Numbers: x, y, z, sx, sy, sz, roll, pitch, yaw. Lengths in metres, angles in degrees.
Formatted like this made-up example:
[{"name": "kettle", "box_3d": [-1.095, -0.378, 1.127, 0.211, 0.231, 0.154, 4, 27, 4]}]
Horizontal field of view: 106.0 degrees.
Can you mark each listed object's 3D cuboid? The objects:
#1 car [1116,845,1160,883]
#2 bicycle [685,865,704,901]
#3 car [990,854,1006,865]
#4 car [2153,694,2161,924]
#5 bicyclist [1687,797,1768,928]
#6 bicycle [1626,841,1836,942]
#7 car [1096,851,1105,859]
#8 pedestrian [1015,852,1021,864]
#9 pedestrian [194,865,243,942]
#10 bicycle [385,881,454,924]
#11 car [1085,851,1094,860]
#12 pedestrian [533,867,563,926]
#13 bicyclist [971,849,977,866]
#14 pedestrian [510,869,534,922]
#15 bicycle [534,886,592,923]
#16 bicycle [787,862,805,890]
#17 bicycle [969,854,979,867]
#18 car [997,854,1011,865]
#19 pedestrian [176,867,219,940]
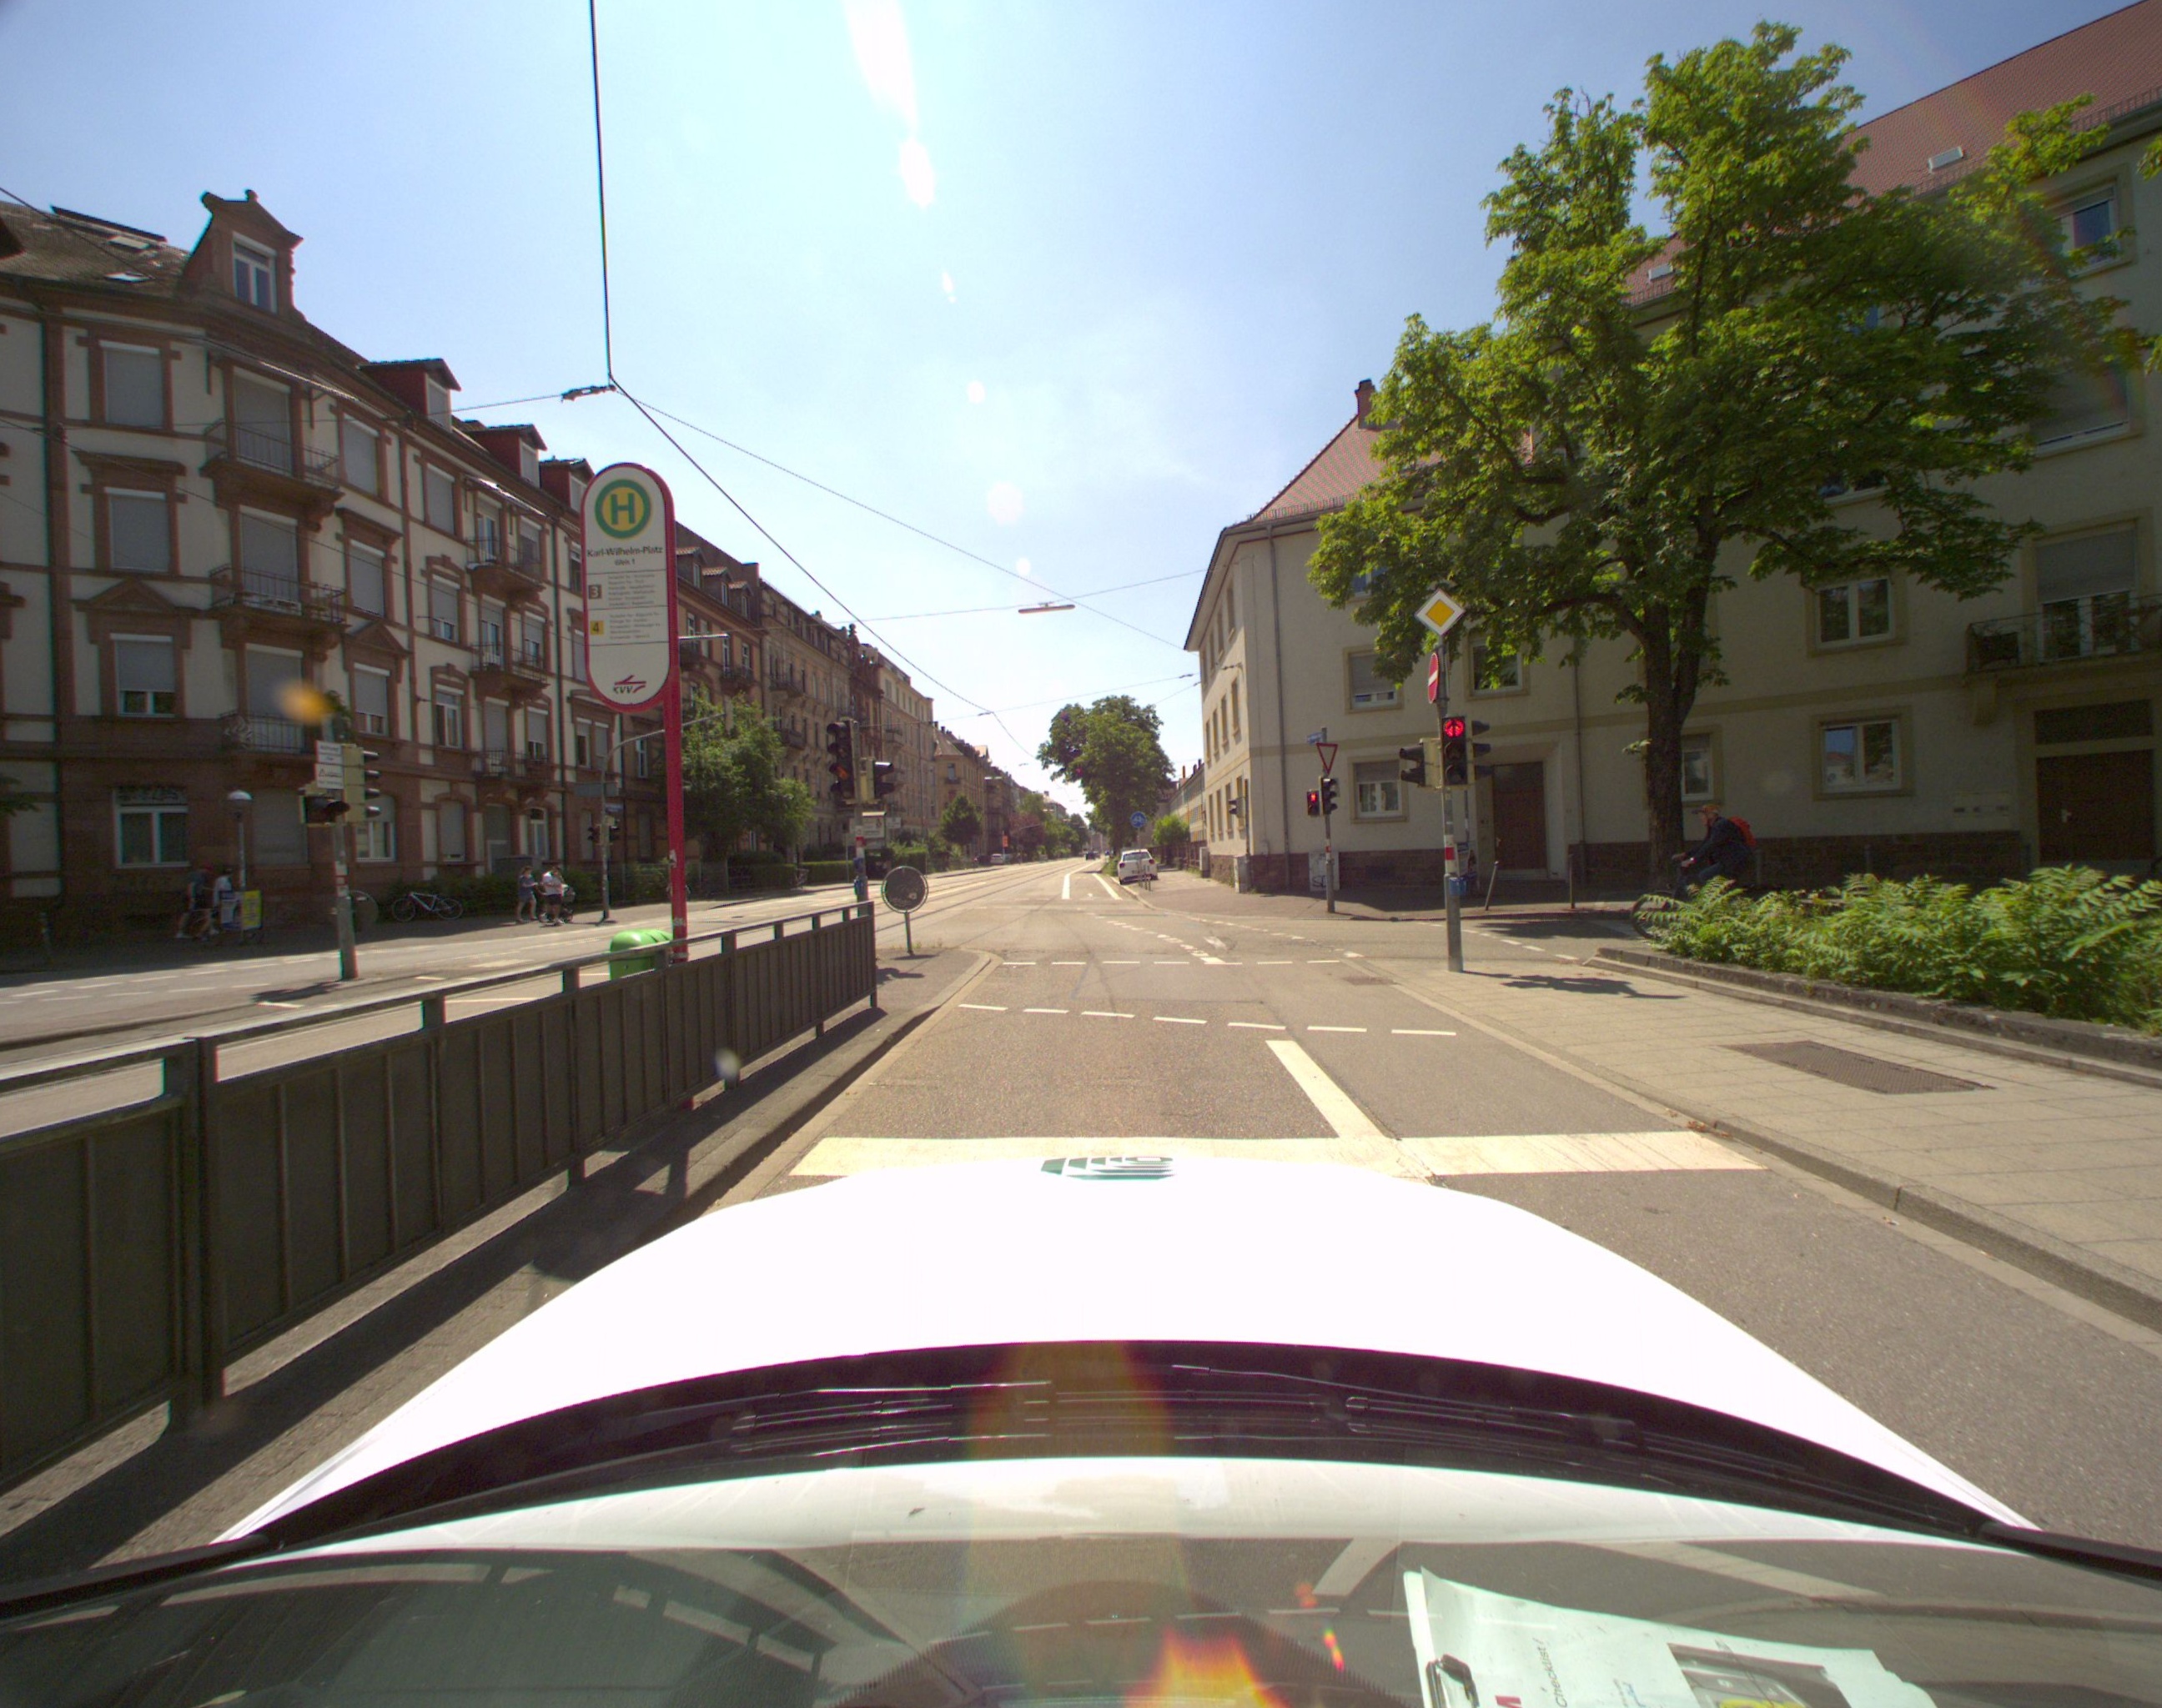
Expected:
[{"name": "car", "box_3d": [2.543, 0.440, 37.275, 1.741, 1.472, 3.939, -5, 0, 1]}, {"name": "bicycle", "box_3d": [-15.693, 1.143, 33.117, 0.617, 1.395, 2.289, -1, 0, -24]}, {"name": "car", "box_3d": [-11.799, 0.761, 116.094, 1.679, 1.472, 3.937, -5, 0, 0]}, {"name": "car", "box_3d": [12.526, -0.276, 5.824, 2.010, 2.590, 5.784, -2, 0, -37]}, {"name": "bicyclist", "box_3d": [8.482, 0.112, 10.706, 0.687, 1.646, 0.584, -2, -1, 27]}, {"name": "bicycle", "box_3d": [8.465, 0.485, 10.726, 2.061, 1.236, 0.584, -2, -1, 27]}, {"name": "car", "box_3d": [4.253, 0.215, 176.631, 1.741, 1.472, 3.939, -5, 0, 1]}, {"name": "pedestrian", "box_3d": [-9.449, 0.626, 122.275, 0.675, 1.727, 0.678, -1, -1, 1]}, {"name": "pedestrian", "box_3d": [-20.945, 1.191, 19.784, 0.565, 1.825, 0.631, -1, -1, -20]}, {"name": "bicycle", "box_3d": [-19.478, 1.426, 23.996, 1.522, 1.169, 0.362, -1, 1, -25]}, {"name": "car", "box_3d": [1.505, 0.248, 145.168, 1.519, 1.444, 3.367, -4, 0, 2]}, {"name": "pedestrian", "box_3d": [-15.180, 1.202, 23.200, 0.657, 1.615, 0.464, -1, 2, -40]}, {"name": "bicyclist", "box_3d": [-11.600, 0.394, 88.335, 0.540, 1.763, 0.498, -1, -1, 1]}, {"name": "pedestrian", "box_3d": [-16.429, 1.215, 23.946, 0.510, 1.516, 0.464, -1, -1, -40]}, {"name": "bicycle", "box_3d": [-15.309, 1.492, 24.080, 1.410, 1.013, 0.384, 0, -1, -39]}, {"name": "bicycle", "box_3d": [-14.444, 1.091, 41.263, 0.594, 1.356, 2.420, -1, 0, -24]}, {"name": "bicycle", "box_3d": [-11.607, 0.742, 88.406, 0.575, 1.388, 2.502, -1, 0, 2]}, {"name": "car", "box_3d": [-11.791, 0.802, 124.465, 1.623, 1.472, 3.563, -5, 0, 0]}, {"name": "pedestrian", "box_3d": [-21.690, 1.199, 19.998, 0.508, 1.768, 0.525, -1, -1, -20]}]
